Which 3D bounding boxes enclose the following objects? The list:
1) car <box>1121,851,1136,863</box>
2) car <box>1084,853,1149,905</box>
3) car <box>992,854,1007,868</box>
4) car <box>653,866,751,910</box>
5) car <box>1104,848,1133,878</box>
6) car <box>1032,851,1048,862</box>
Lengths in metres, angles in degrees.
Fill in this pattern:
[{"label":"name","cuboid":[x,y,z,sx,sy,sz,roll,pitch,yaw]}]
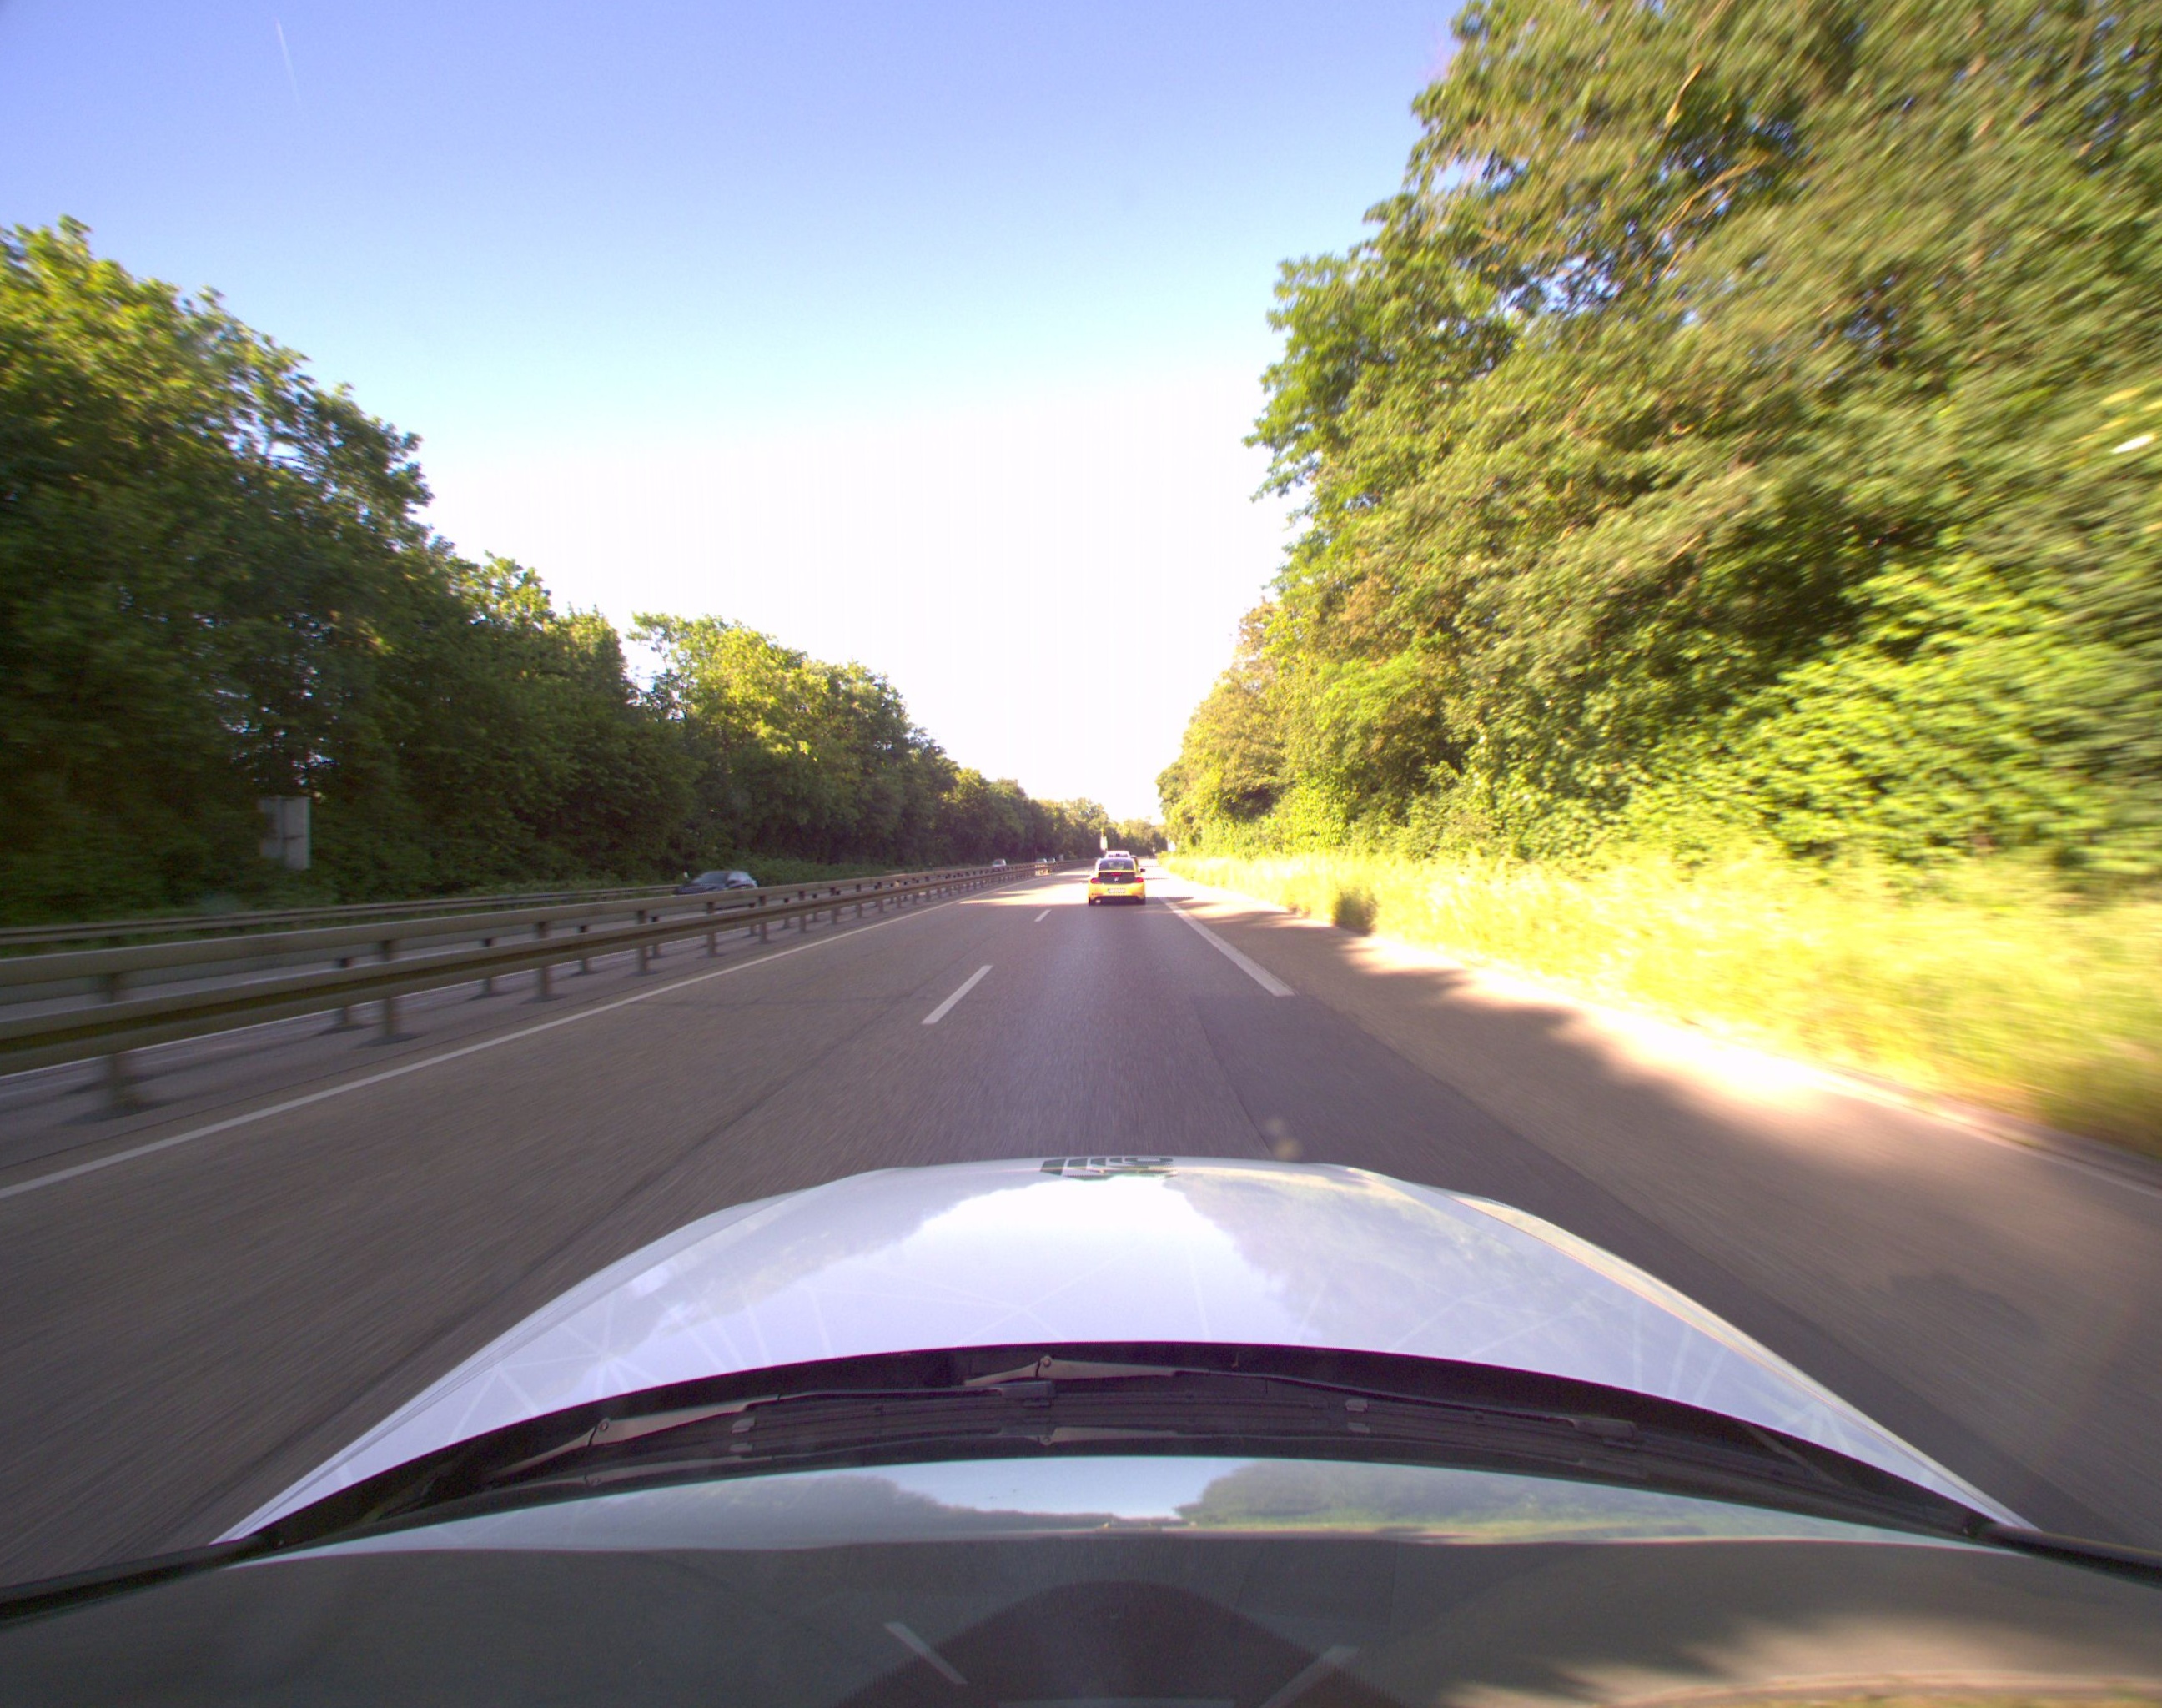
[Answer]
[{"label":"car","cuboid":[7.535,0.504,130.362,2.254,1.875,5.078,0,0,2]},{"label":"car","cuboid":[1.183,0.744,26.173,1.930,1.508,3.426,-1,0,4]},{"label":"car","cuboid":[-10.033,0.857,100.829,1.408,1.619,2.877,-2,0,3]},{"label":"car","cuboid":[-13.754,1.192,29.825,1.600,1.423,4.002,-1,0,2]},{"label":"car","cuboid":[2.410,0.556,51.452,1.734,1.830,3.426,0,0,4]},{"label":"car","cuboid":[-6.613,0.402,132.344,1.985,1.750,4.554,-3,0,3]}]
